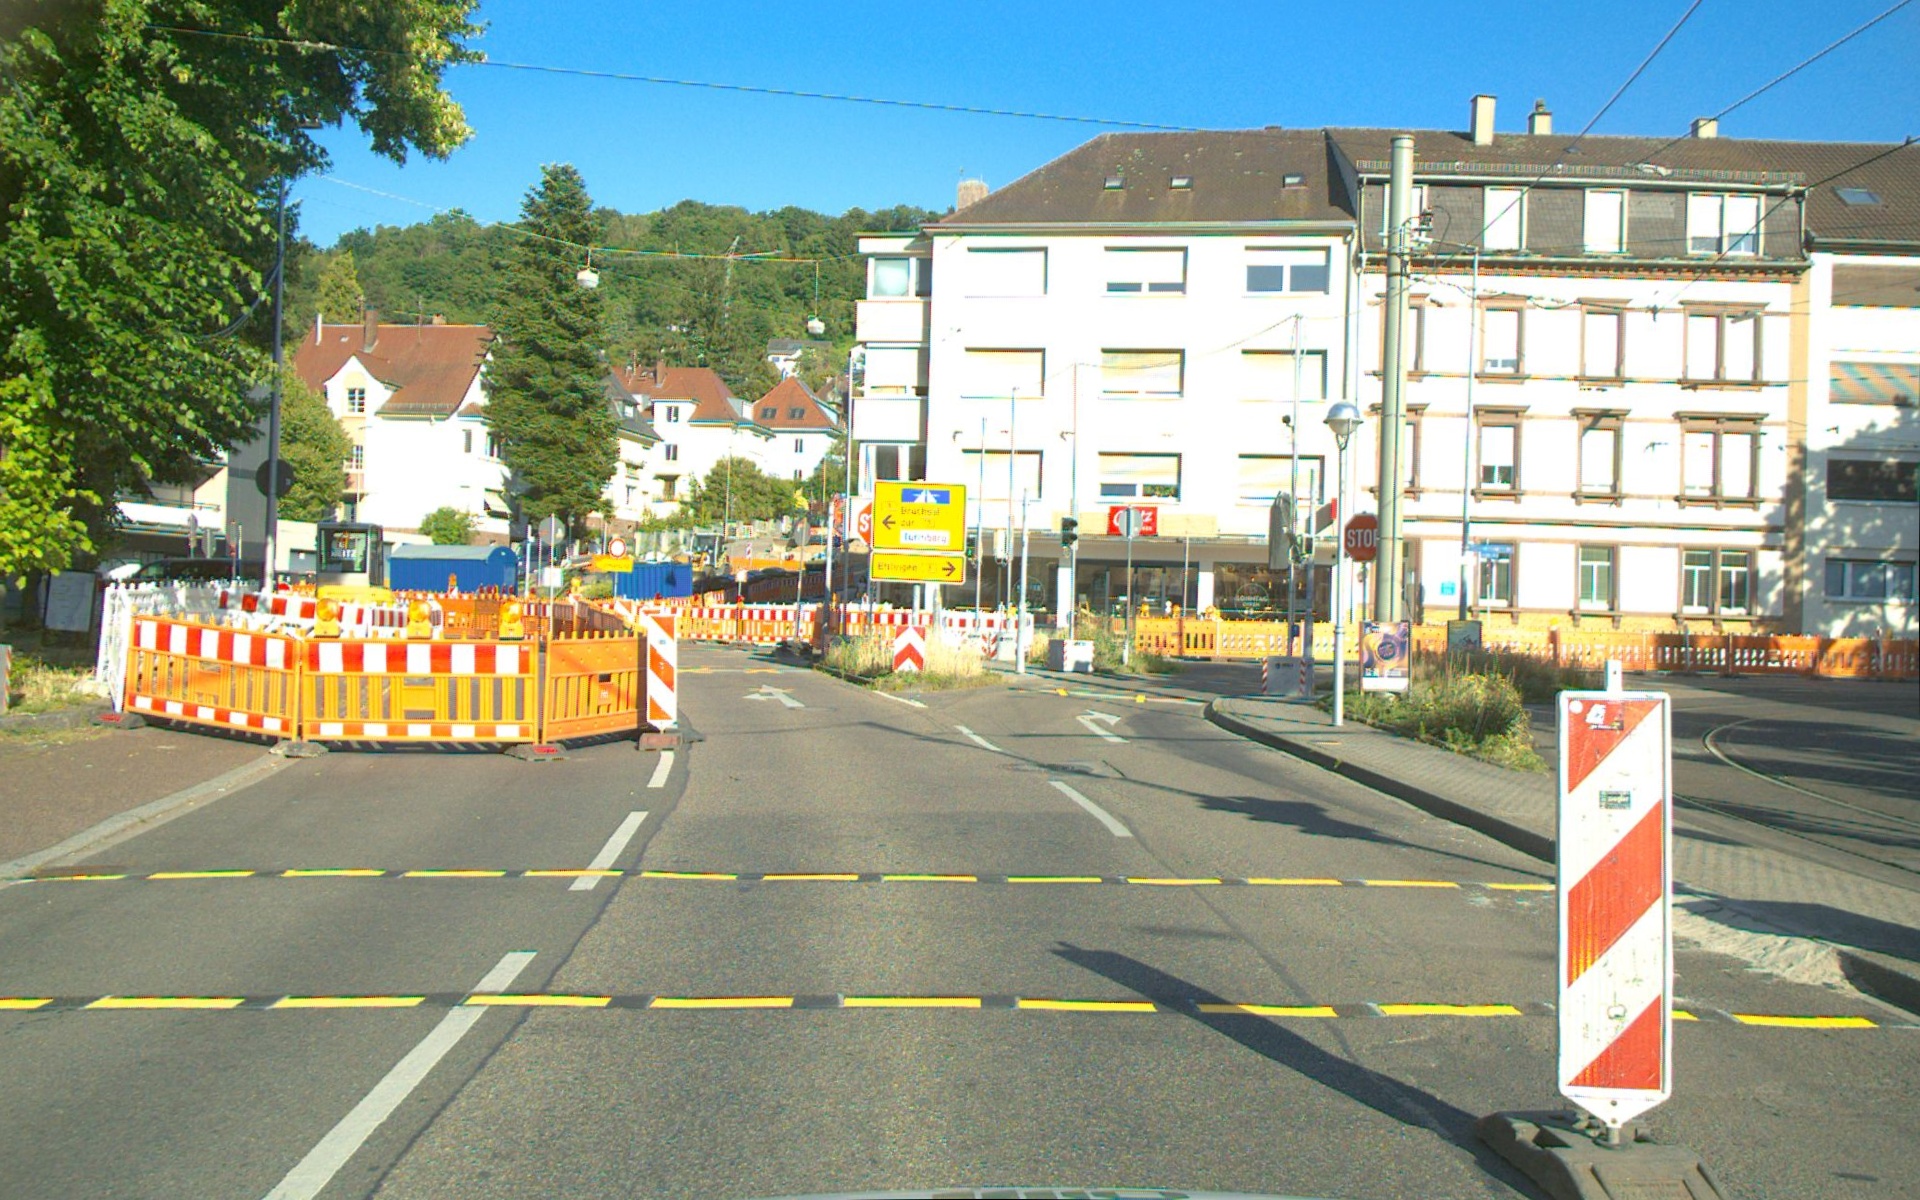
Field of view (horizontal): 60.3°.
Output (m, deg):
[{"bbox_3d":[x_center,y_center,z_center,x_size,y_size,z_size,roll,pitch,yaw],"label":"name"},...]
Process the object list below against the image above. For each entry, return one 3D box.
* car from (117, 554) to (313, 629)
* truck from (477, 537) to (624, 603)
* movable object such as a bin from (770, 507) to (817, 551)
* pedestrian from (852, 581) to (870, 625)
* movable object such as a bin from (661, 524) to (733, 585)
[{"bbox_3d":[-22.253,-0.252,49.542,4.880,2.049,2.069,2,0,2],"label":"car"},{"bbox_3d":[-16.736,-1.147,68.404,2.306,2.458,9.159,1,0,10],"label":"truck"},{"bbox_3d":[-11.365,-4.840,113.342,2.144,2.737,4.003,1,0,9],"label":"movable object such as a bin"},{"bbox_3d":[-4.088,0.143,68.326,0.627,1.791,0.718,1,0,-1],"label":"pedestrian"},{"bbox_3d":[-12.527,-2.148,79.015,2.144,2.737,4.003,1,0,9],"label":"movable object such as a bin"}]
